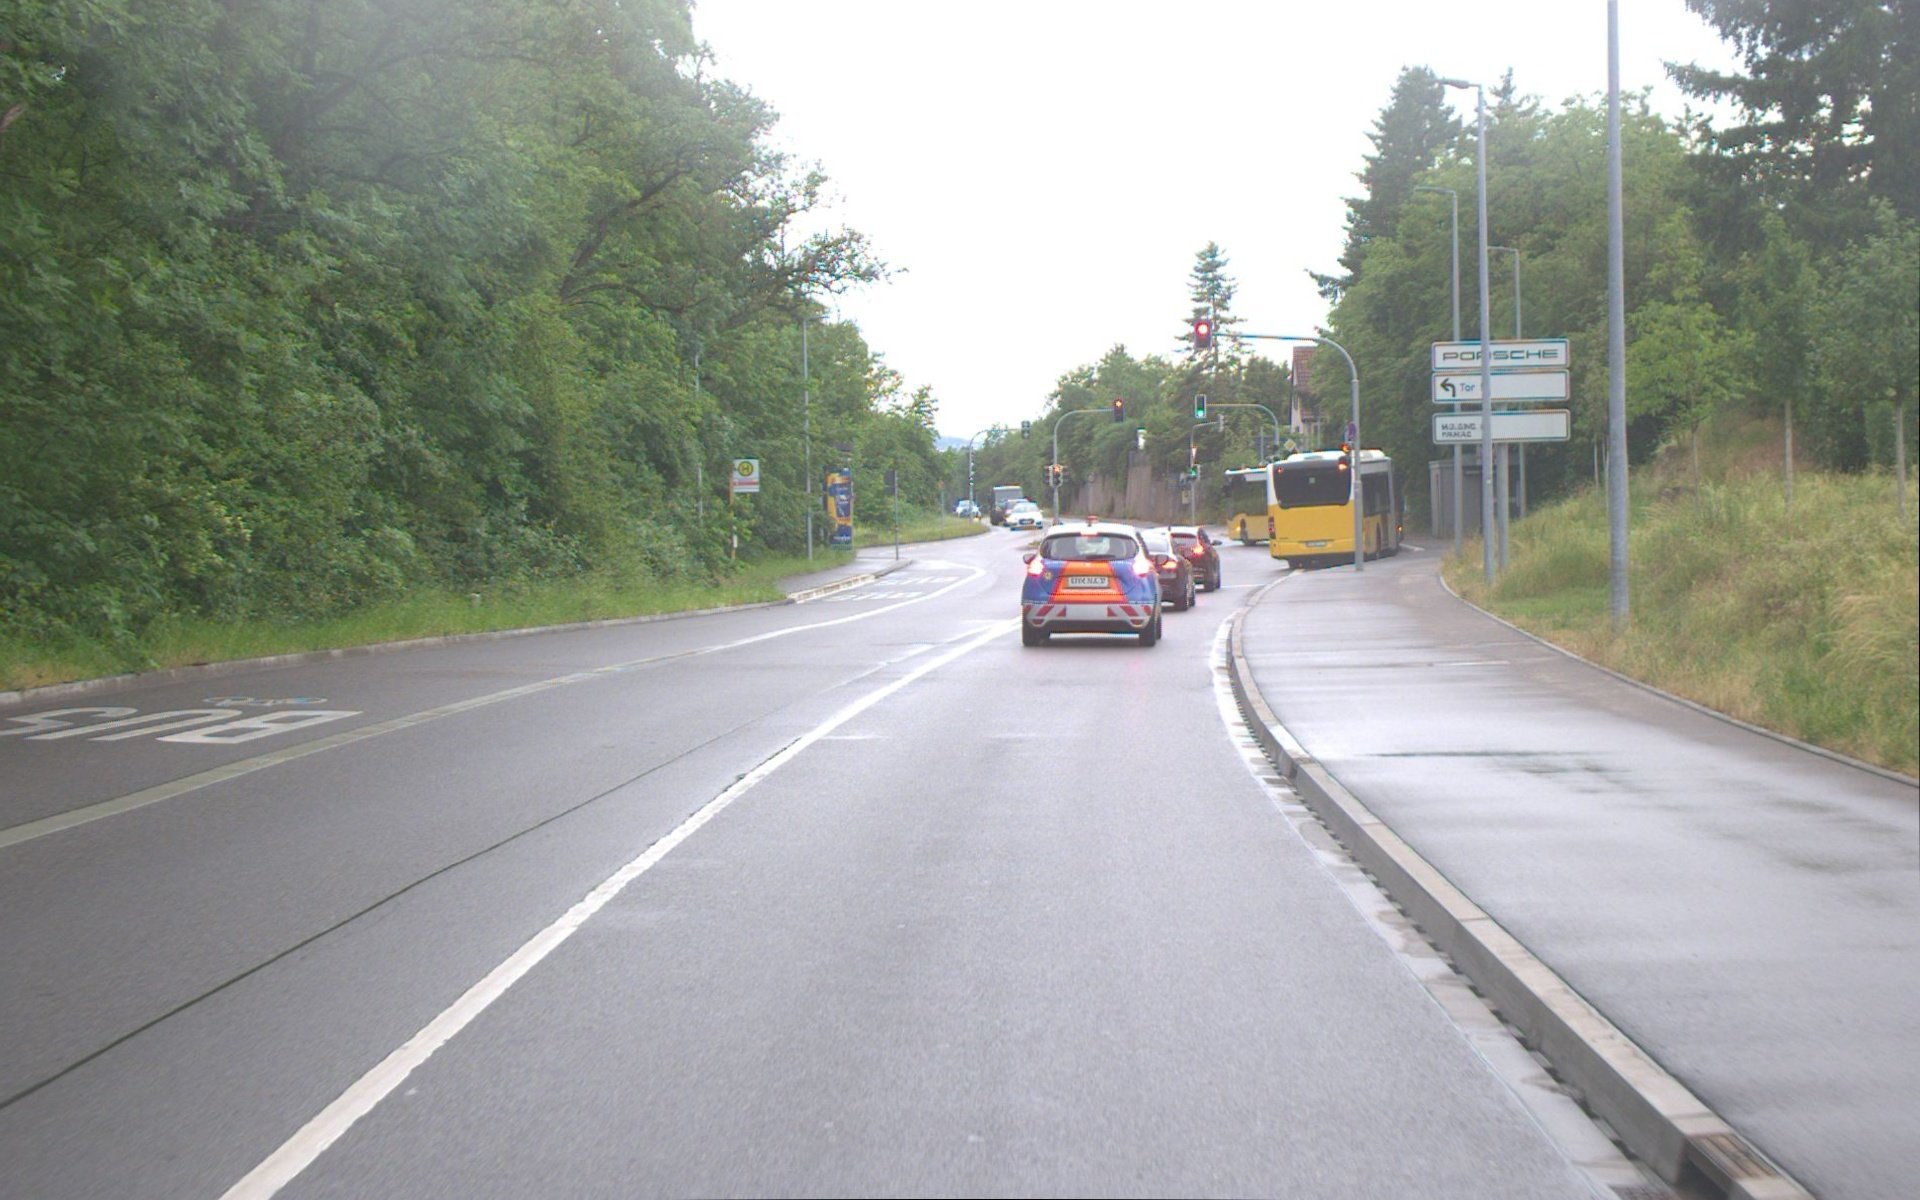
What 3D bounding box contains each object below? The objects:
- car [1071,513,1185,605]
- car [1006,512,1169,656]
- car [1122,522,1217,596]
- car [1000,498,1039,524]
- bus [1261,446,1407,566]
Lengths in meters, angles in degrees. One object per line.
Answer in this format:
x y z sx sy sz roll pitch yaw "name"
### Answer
2.966 -0.752 61.311 1.927 1.481 3.800 -2 2 2 "car"
1.667 -0.254 44.964 1.994 1.683 4.000 -2 2 2 "car"
4.483 -0.883 73.677 1.994 1.546 4.000 0 1 3 "car"
3.378 -5.056 195.841 1.993 1.415 4.000 0 1 -2 "car"
10.434 -2.546 95.060 2.818 3.132 9.175 0 1 14 "bus"
